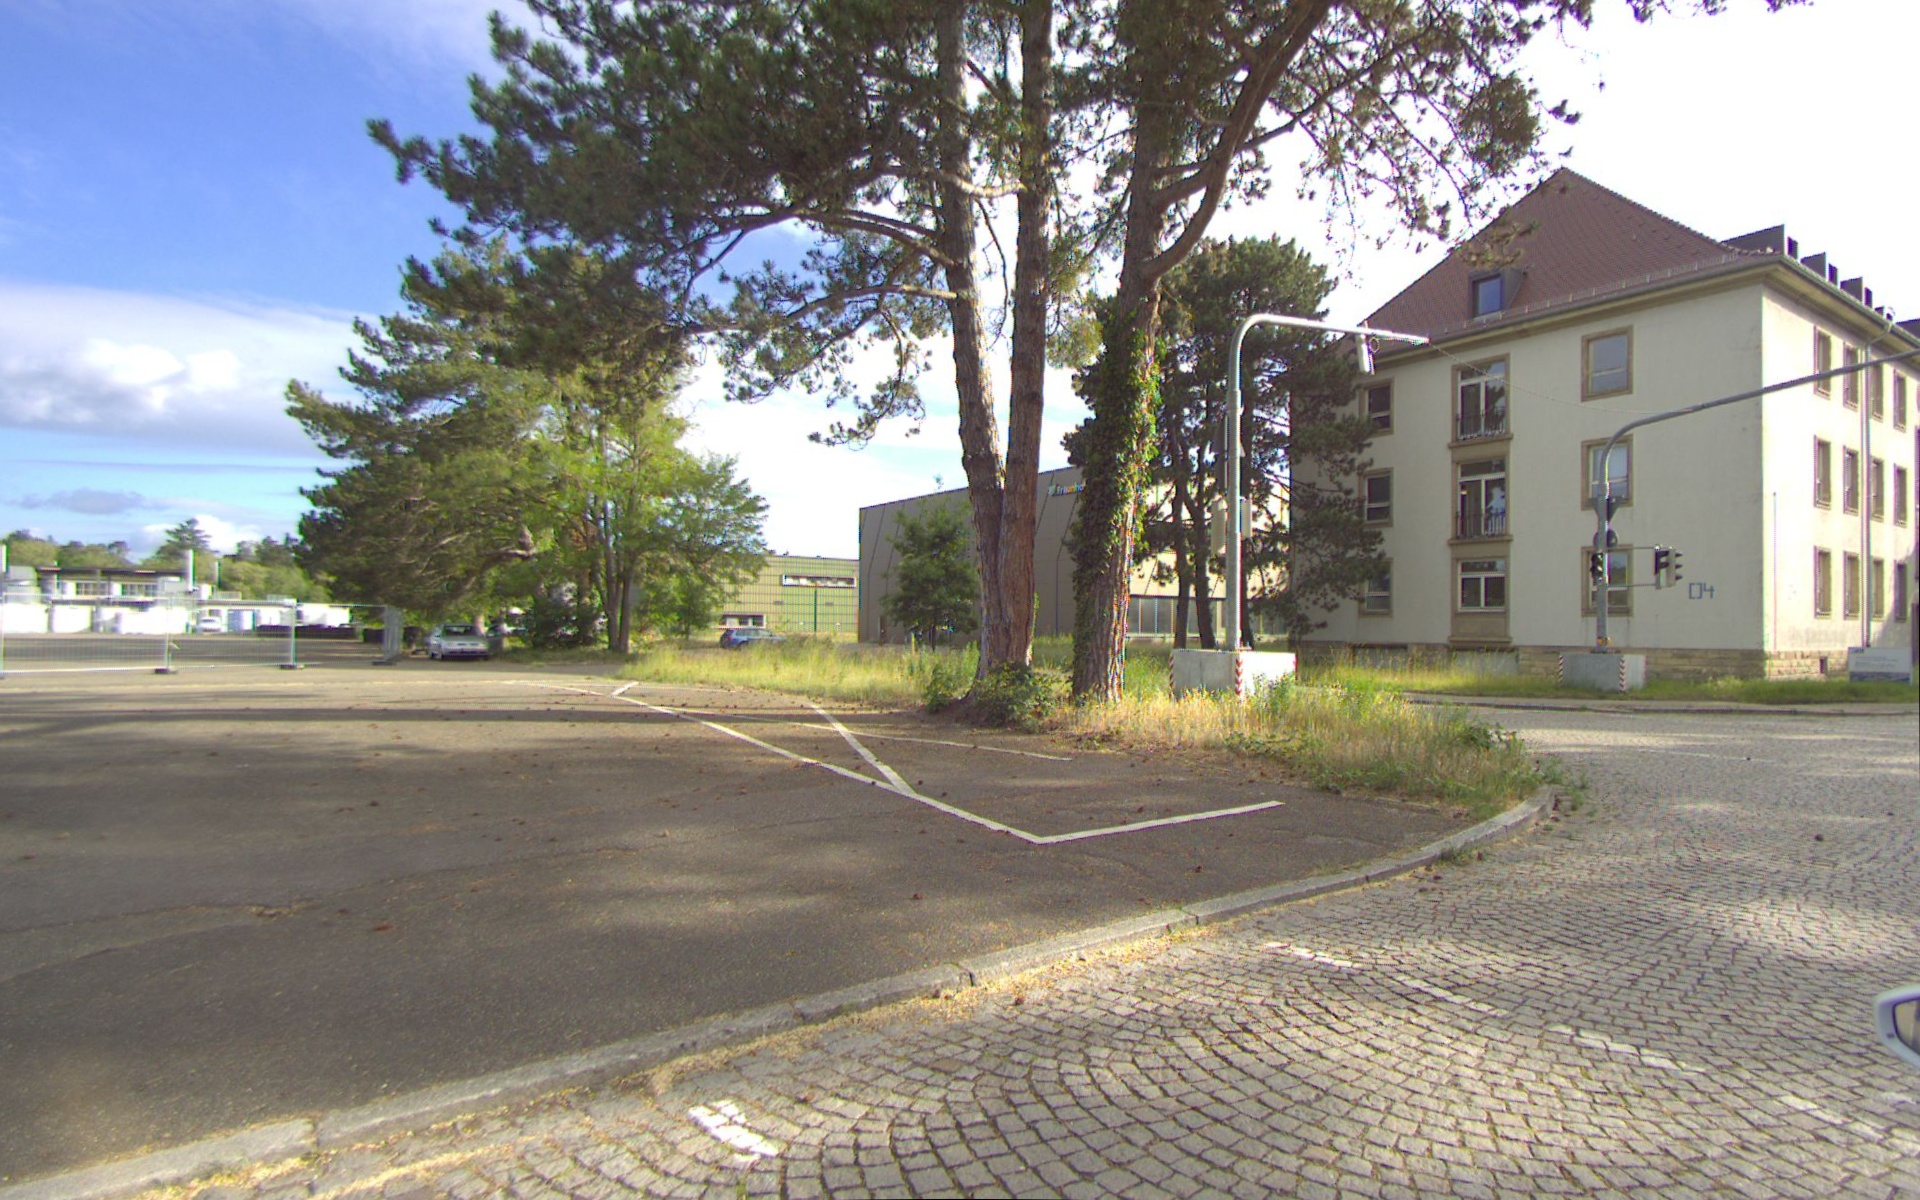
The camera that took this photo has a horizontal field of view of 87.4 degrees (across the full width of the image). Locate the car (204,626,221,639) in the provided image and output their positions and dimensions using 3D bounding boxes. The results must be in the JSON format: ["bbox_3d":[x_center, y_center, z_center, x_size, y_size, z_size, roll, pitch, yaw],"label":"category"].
[{"bbox_3d":[-108.997,4.739,146.521,1.840,1.694,4.154,2,-2,-38],"label":"car"}]

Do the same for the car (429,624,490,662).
[{"bbox_3d":[-19.473,1.645,38.997,1.648,1.400,3.963,2,-2,-33],"label":"car"}]

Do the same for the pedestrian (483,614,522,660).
[{"bbox_3d":[-18.165,1.474,39.902,0.862,1.767,1.095,1,-1,25],"label":"pedestrian"}]

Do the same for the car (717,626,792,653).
[{"bbox_3d":[-12.591,2.411,61.526,4.119,1.580,1.790,3,-2,-38],"label":"car"}]
